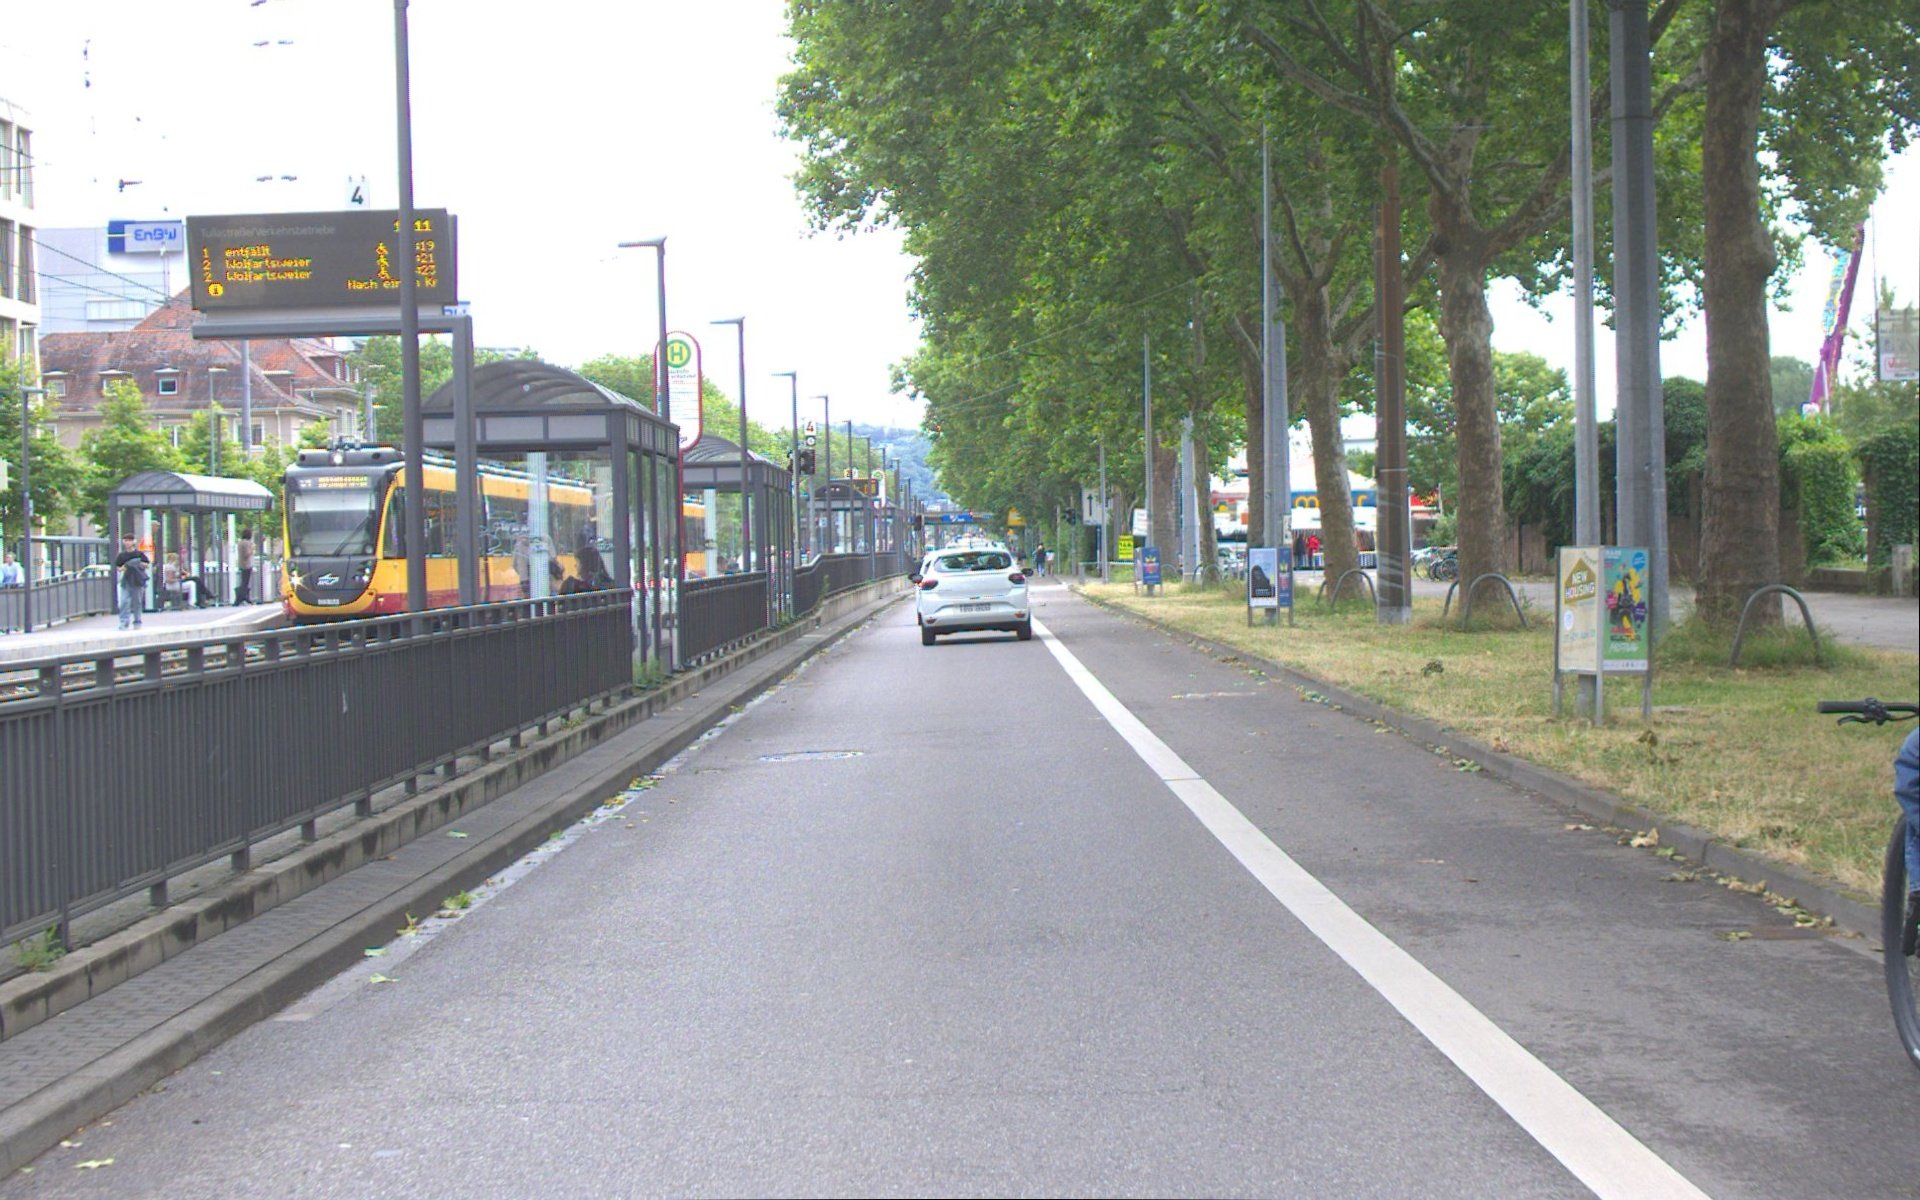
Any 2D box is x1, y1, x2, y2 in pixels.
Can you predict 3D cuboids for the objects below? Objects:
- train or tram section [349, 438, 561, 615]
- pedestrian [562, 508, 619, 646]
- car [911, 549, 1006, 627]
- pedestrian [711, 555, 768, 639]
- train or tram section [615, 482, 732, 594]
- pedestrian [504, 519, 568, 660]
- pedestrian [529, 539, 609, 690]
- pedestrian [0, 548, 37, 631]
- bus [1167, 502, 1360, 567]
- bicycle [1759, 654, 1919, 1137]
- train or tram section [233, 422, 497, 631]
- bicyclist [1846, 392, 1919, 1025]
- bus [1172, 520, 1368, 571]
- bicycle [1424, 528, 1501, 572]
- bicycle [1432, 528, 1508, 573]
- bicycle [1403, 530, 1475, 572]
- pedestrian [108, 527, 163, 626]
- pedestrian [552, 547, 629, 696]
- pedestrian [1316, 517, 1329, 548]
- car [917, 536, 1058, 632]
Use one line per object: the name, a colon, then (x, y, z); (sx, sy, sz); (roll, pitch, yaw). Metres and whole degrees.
train or tram section: (-11.848, -1.662, 81.821); (3.163, 3.849, 11.311); (-1, 0, 1)
pedestrian: (-4.886, -0.298, 45.423); (0.670, 1.787, 1.113); (-2, 0, -8)
car: (-0.008, -0.268, 73.111); (1.841, 1.546, 4.000); (-2, 1, 2)
pedestrian: (-3.496, -0.051, 54.581); (0.835, 1.299, 0.613); (-1, 0, -1)
train or tram section: (-11.369, -2.408, 137.866); (3.180, 4.164, 14.734); (-1, 0, 1)
pedestrian: (-5.479, -0.139, 44.388); (0.670, 1.787, 1.113); (-2, 0, -13)
pedestrian: (-3.525, 0.126, 31.006); (0.610, 1.336, 0.600); (-1, 0, 1)
pedestrian: (-23.121, -0.253, 83.789); (0.933, 2.007, 1.032); (-1, 0, -1)
bus: (15.032, -3.232, 170.359); (9.276, 2.950, 2.000); (-2, 0, -2)
bicycle: (2.666, 0.738, 8.741); (0.652, 1.146, 2.283); (-1, 0, -2)
train or tram section: (-11.977, -1.421, 70.463); (3.237, 3.849, 11.311); (-1, 0, 1)
bicyclist: (2.620, 0.256, 8.490); (0.641, 1.525, 0.665); (-1, 0, -1)
bus: (15.030, -2.631, 166.935); (9.276, 2.220, 2.000); (-2, 0, -2)
bicycle: (13.728, -1.369, 93.946); (1.974, 1.091, 0.550); (-3, 0, -1)
bicycle: (13.755, -1.338, 92.731); (1.890, 1.101, 0.550); (-3, 0, -1)
bicycle: (13.632, -1.390, 97.890); (1.921, 1.087, 0.550); (-3, 0, -1)
pedestrian: (-15.242, -0.435, 63.561); (0.711, 1.789, 1.160); (-1, 0, -1)
pedestrian: (-3.468, 0.196, 32.292); (0.610, 1.368, 0.600); (-1, 0, 1)
pedestrian: (16.977, -3.170, 161.007); (0.492, 1.458, 0.524); (-1, 0, -2)
car: (0.480, -0.265, 55.240); (1.886, 1.448, 3.999); (-1, 0, 6)
